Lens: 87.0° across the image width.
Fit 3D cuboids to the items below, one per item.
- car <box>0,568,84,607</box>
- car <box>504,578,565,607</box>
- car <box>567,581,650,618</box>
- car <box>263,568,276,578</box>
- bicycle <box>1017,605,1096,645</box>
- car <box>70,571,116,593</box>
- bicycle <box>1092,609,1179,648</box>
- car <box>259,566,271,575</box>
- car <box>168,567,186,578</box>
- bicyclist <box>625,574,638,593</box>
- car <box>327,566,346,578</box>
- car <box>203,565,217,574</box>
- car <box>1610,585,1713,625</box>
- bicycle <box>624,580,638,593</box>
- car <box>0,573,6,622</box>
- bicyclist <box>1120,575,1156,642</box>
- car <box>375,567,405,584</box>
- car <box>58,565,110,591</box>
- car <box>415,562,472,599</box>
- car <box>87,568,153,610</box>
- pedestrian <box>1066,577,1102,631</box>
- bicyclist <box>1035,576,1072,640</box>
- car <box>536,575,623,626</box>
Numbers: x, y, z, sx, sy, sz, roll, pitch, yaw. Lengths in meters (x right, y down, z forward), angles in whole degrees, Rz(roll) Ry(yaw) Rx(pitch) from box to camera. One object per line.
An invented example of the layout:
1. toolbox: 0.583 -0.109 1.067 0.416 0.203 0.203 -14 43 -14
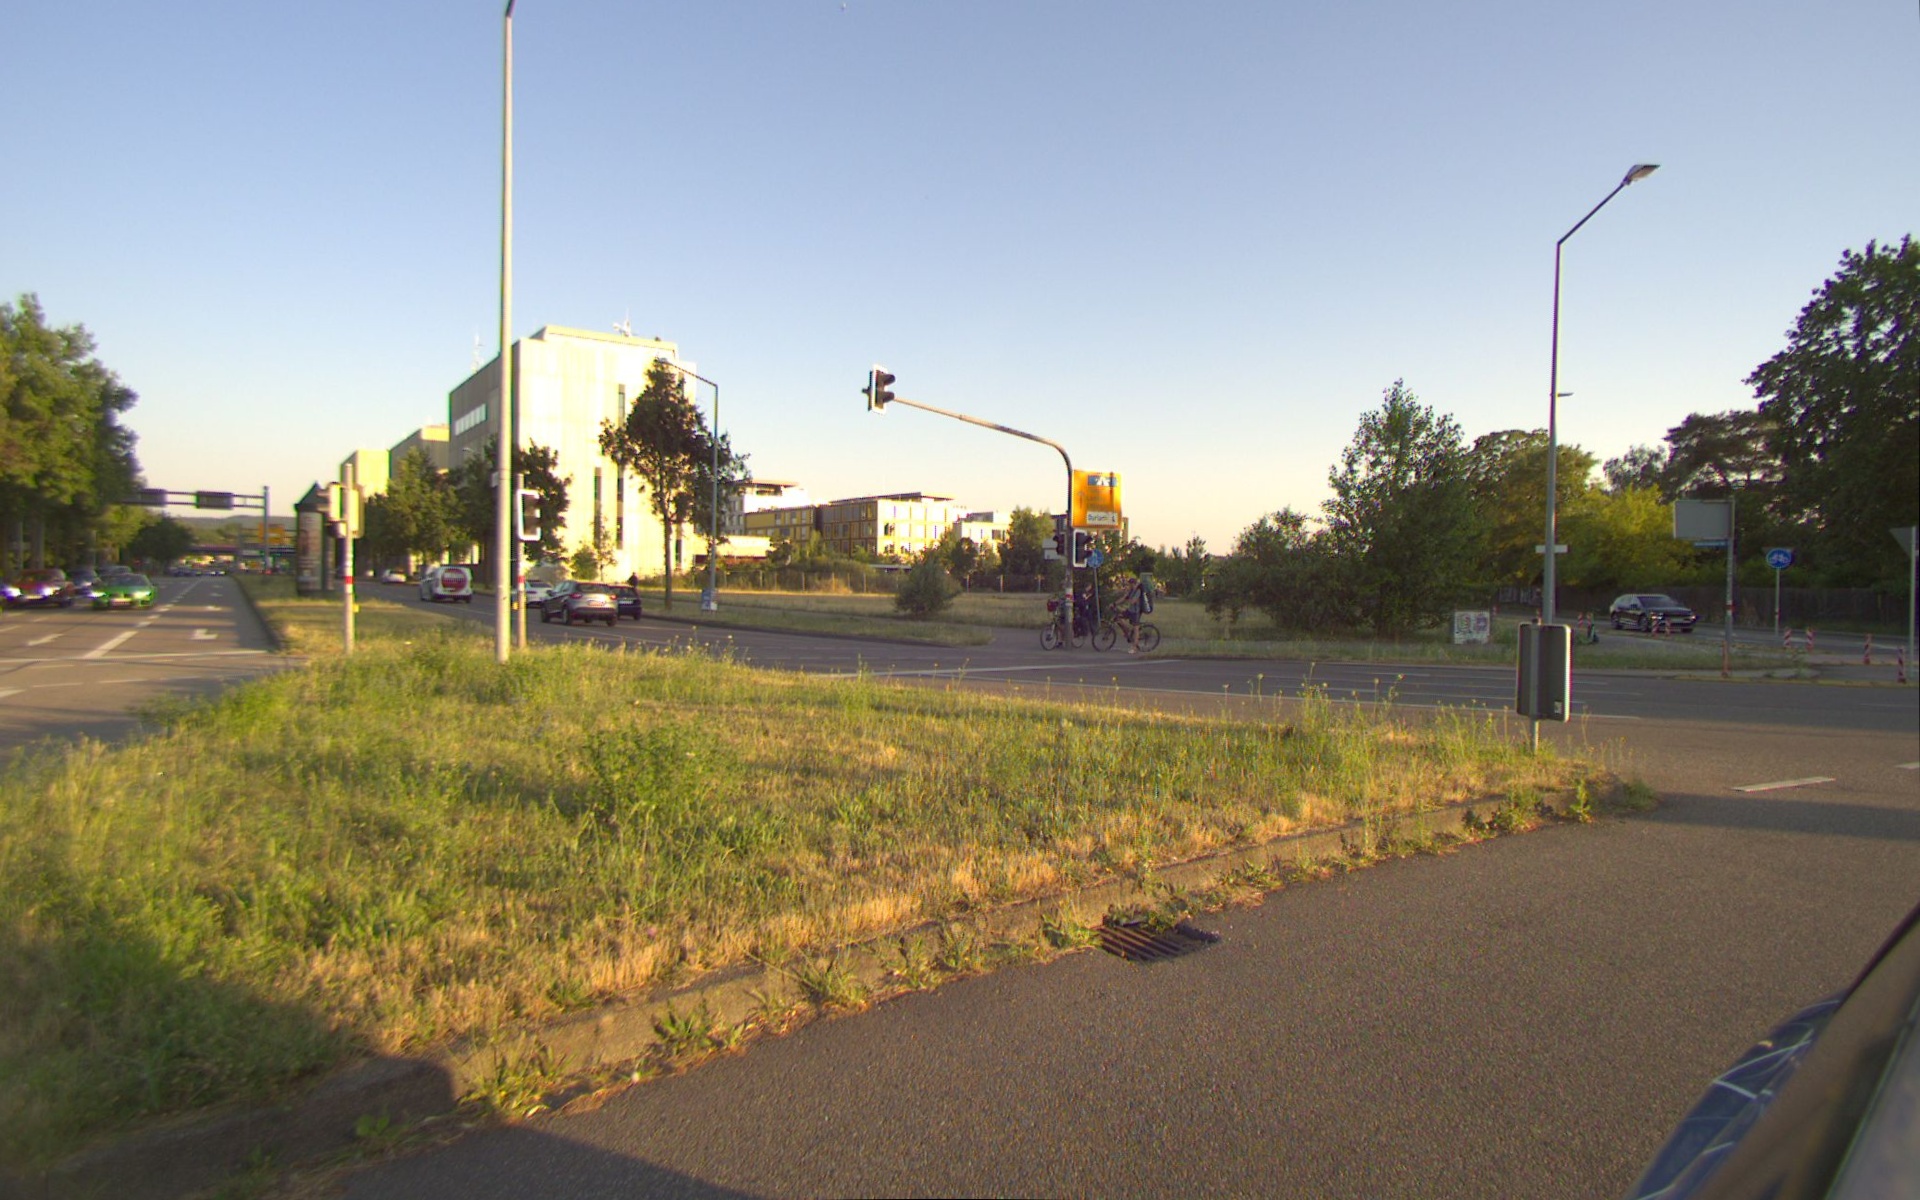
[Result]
1. car: -39.099 -0.570 43.205 1.961 1.593 4.418 0 1 -33
2. car: -22.097 -0.406 52.477 1.962 1.425 4.525 0 1 -36
3. car: -14.576 -0.051 41.835 1.964 1.445 4.195 0 1 -38
4. car: -128.756 -5.100 188.755 1.962 1.805 4.001 0 1 -35
5. bicycle: 2.610 0.660 27.347 2.065 0.975 0.711 -2 2 -27
6. car: -56.265 -1.188 65.734 1.832 1.407 4.163 0 1 -35
7. bicycle: 4.537 0.733 26.242 2.100 0.975 0.711 1 1 -15
8. car: -148.363 -6.334 216.068 1.962 1.805 4.001 0 1 -35
9. car: -115.959 -4.074 149.887 1.879 1.603 4.181 0 1 -35
10. bicyclist: -21.803 -1.101 67.107 0.606 1.272 0.735 0 1 -34
11. car: -86.412 -3.936 140.220 1.962 1.593 4.001 0 1 -35
12. car: -129.808 -5.206 175.228 1.963 1.524 4.771 0 1 -36
13. car: 30.671 0.188 44.437 1.967 1.617 4.304 1 1 8
14. bicycle: -21.835 -0.906 67.126 0.487 0.837 1.515 0 1 -35
15. car: -28.637 0.005 28.578 1.852 1.481 4.670 -4 3 -36
16. bicyclist: 4.610 0.210 26.264 0.674 1.711 0.727 1 1 -13
17. car: -54.670 -2.365 97.071 1.962 1.528 5.186 0 1 -35
18. car: -49.234 -1.243 56.946 1.833 1.407 4.162 0 1 -36
19. car: -28.590 -1.090 55.921 2.030 1.971 4.960 0 1 -36
20. car: -33.953 -0.475 40.955 1.964 1.599 4.481 1 1 -39
21. pedestrian: 3.850 0.105 31.327 0.977 1.610 0.923 1 1 14
22. bicyclist: 2.524 0.209 27.329 0.675 1.711 0.726 0 1 -29
23. car: -13.298 -0.029 35.231 1.962 1.649 4.001 0 1 -34
